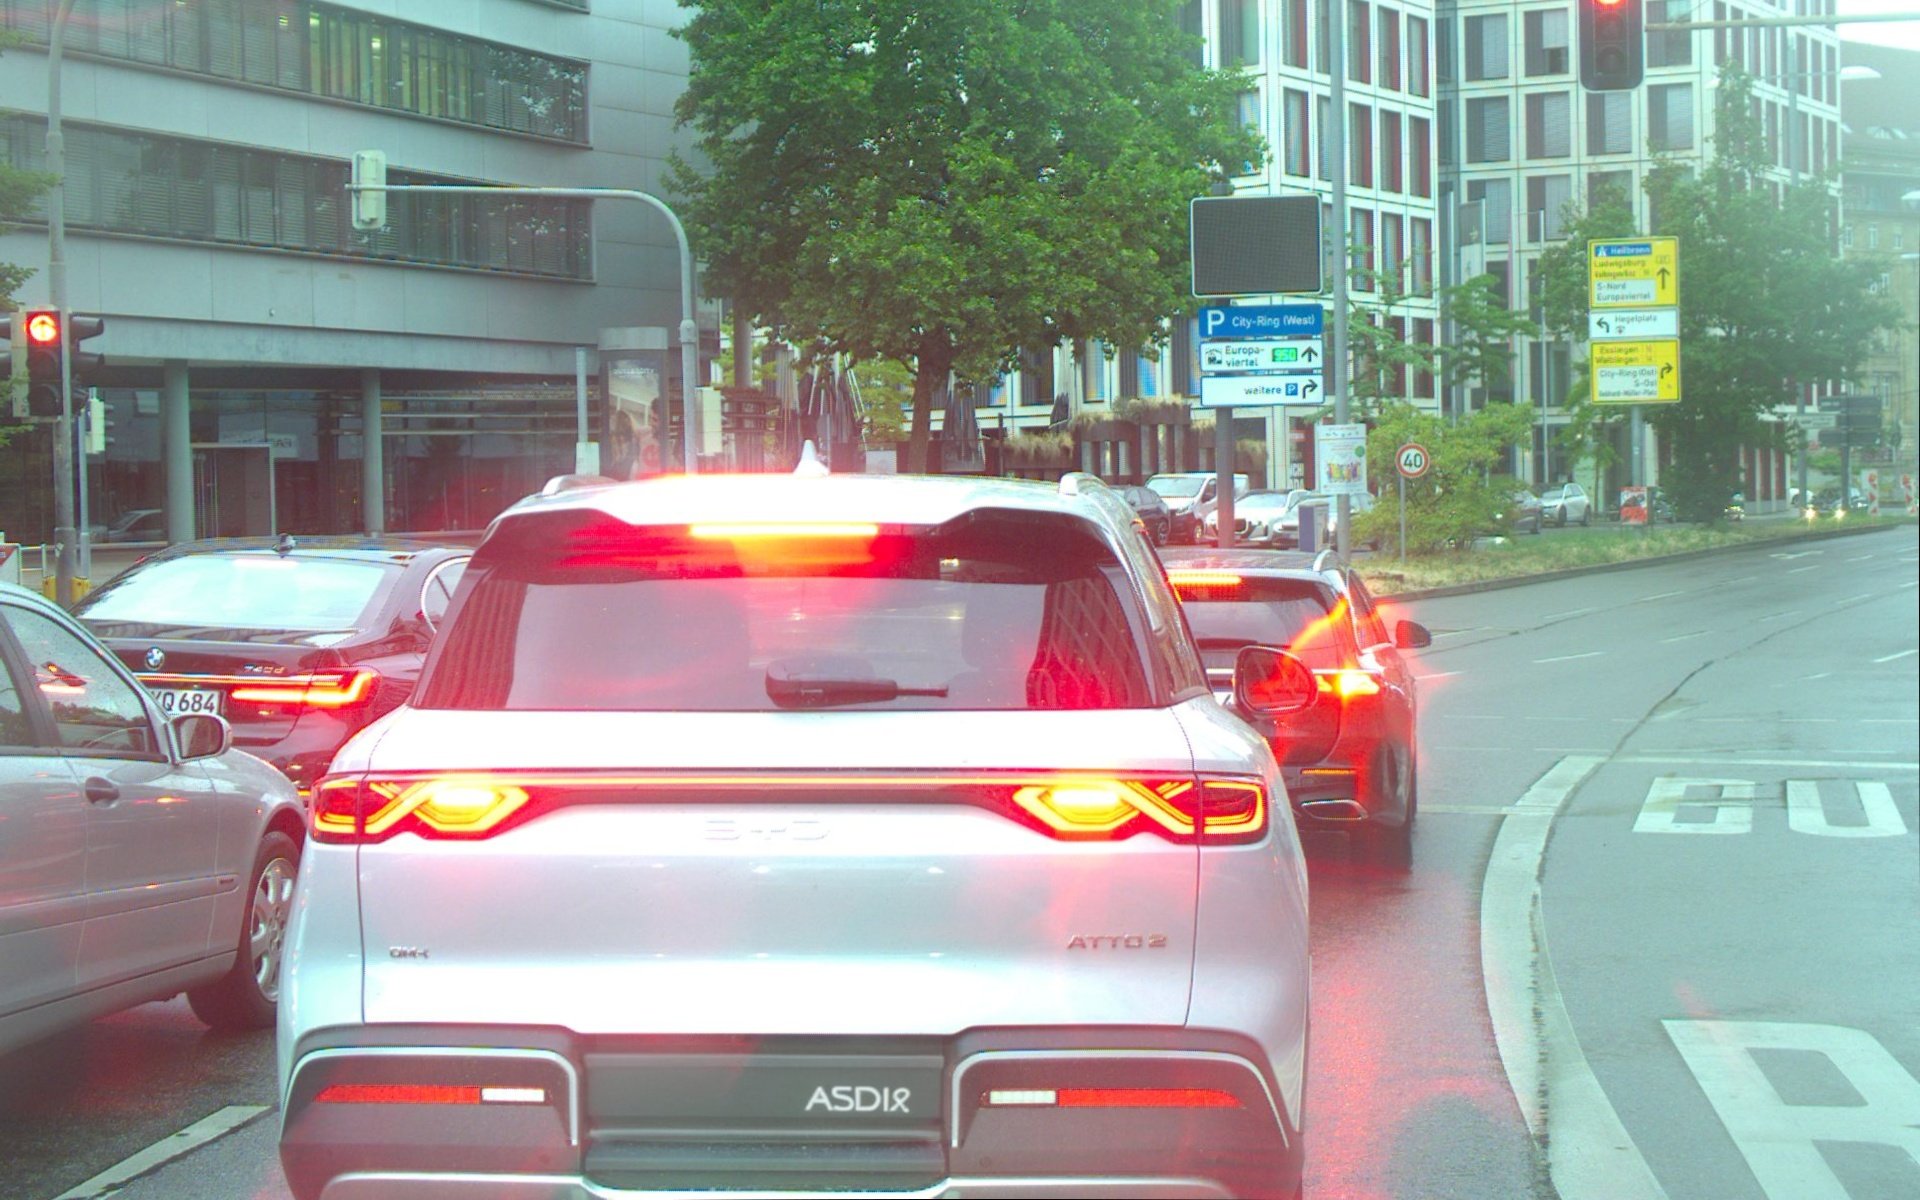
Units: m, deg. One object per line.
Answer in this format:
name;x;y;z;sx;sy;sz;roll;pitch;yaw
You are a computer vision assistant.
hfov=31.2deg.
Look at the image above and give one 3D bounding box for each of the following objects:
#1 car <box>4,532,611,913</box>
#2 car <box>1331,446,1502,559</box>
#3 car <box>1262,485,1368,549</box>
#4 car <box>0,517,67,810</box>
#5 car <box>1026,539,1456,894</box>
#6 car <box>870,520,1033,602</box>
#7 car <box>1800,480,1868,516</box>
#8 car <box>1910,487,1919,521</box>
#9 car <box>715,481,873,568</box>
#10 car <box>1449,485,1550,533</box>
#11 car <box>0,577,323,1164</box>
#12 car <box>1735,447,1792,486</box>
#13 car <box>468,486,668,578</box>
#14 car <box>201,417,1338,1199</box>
car;-2.789;0.462;15.568;1.571;1.481;3.999;1;1;7
car;8.682;-1.814;65.039;1.996;2.007;4.843;1;1;23
car;9.072;-2.117;87.617;1.645;1.575;4.081;1;1;21
car;-5.875;0.321;16.280;1.707;1.481;3.998;1;1;9
car;1.475;0.474;16.642;1.694;1.481;3.998;1;1;10
car;-0.112;-0.684;61.010;1.692;1.380;3.865;1;1;19
car;37.703;-4.405;148.226;1.996;1.483;3.994;0;2;27
car;43.994;-4.320;154.035;1.996;1.483;3.994;0;2;27
car;-2.999;-1.375;62.871;1.645;1.530;4.149;1;1;16
car;17.147;-2.905;109.145;1.996;1.483;3.994;0;2;27
car;-3.041;0.650;8.825;1.571;1.402;4.108;1;1;7
car;38.255;-6.346;163.708;1.609;1.735;3.439;1;1;32
car;-6.999;-1.231;61.779;1.995;1.605;3.996;1;1;20
car;-0.254;0.539;7.401;1.776;1.673;4.000;1;1;2
